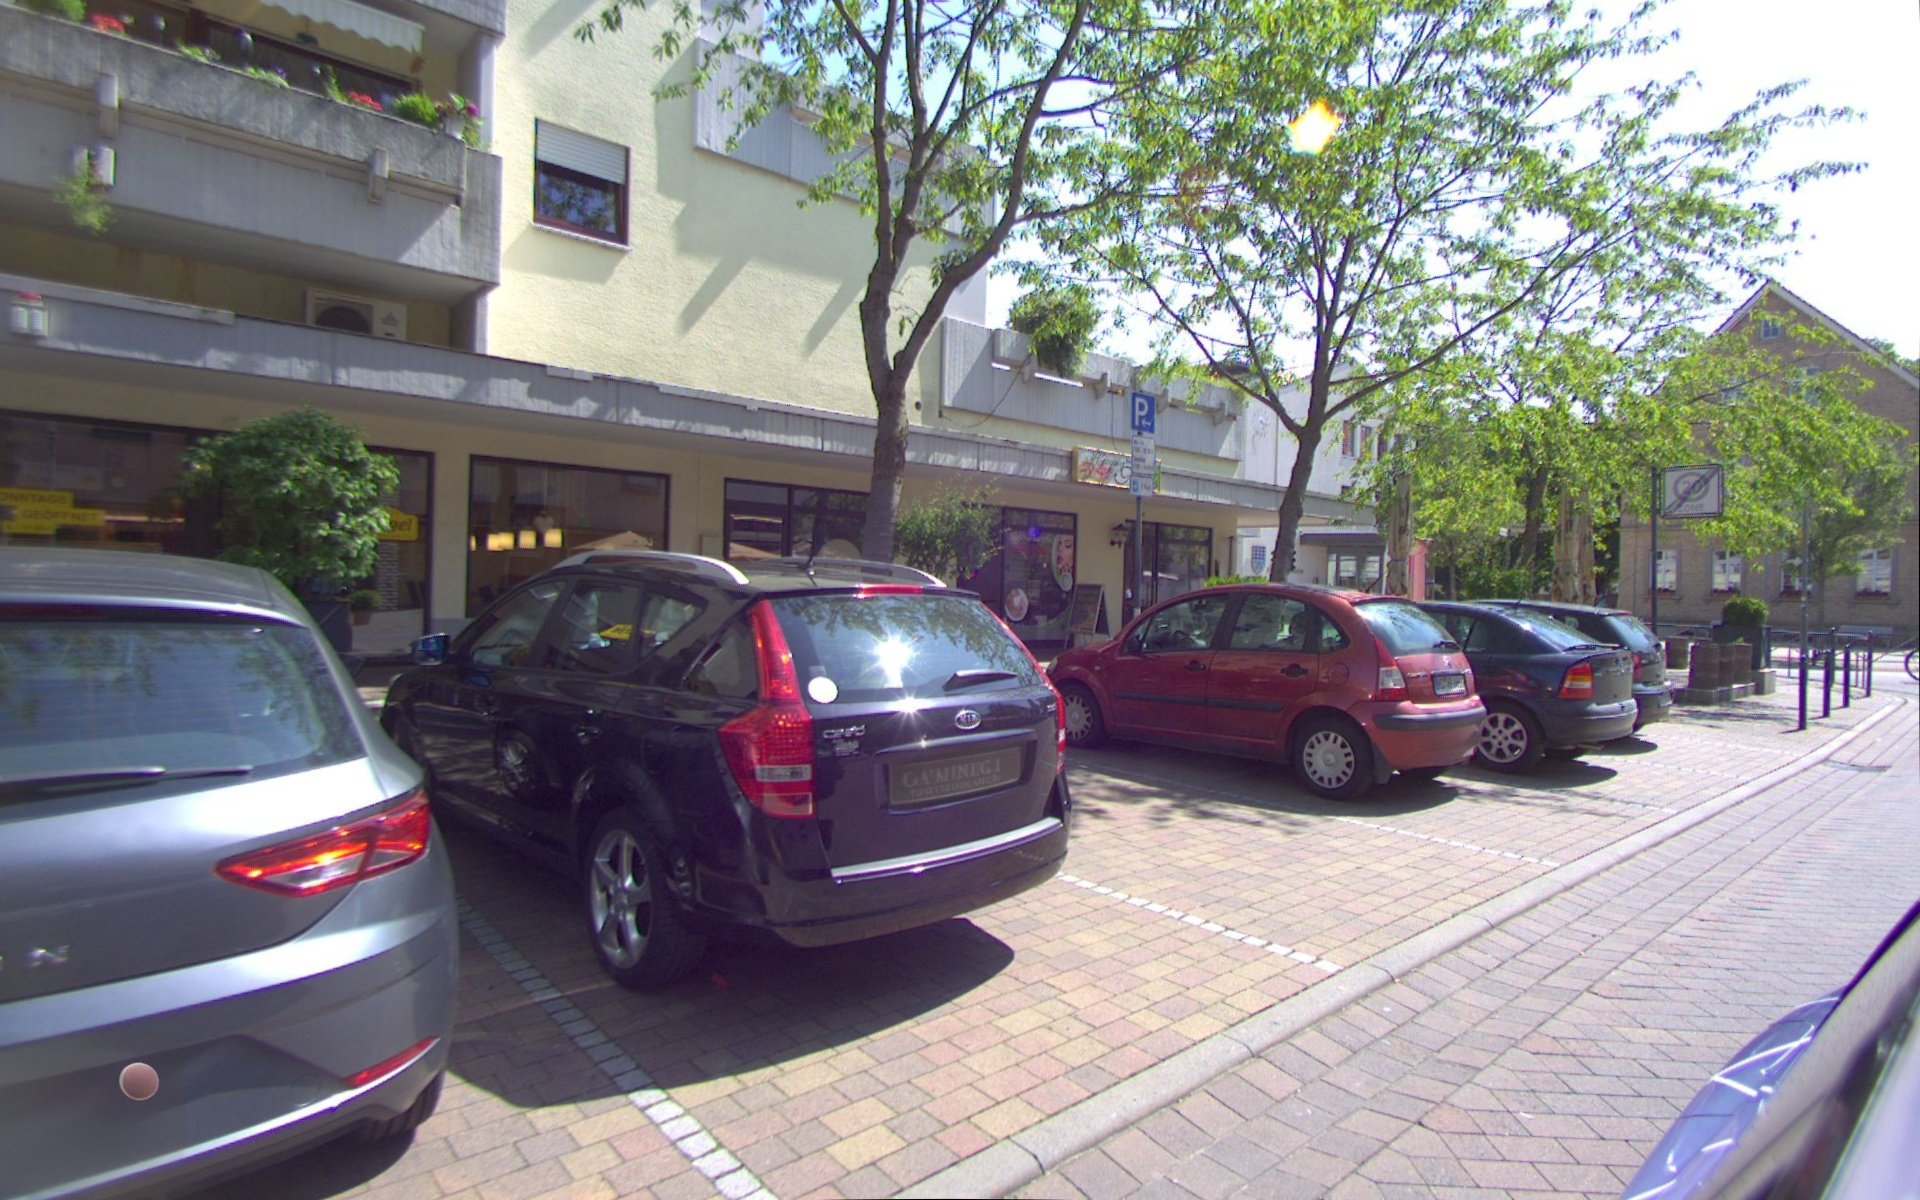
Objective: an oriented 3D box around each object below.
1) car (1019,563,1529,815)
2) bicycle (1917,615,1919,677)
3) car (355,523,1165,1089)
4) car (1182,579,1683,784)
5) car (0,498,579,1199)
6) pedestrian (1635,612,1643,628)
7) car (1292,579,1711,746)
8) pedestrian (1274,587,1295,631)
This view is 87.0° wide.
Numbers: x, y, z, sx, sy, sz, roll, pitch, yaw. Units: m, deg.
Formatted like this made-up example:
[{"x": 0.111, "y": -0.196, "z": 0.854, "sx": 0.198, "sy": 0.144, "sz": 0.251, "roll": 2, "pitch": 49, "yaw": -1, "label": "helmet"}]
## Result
[{"x": 2.446, "y": 0.541, "z": 8.578, "sx": 1.734, "sy": 1.553, "sz": 3.731, "roll": 1, "pitch": 2, "yaw": -41, "label": "car"}, {"x": 19.462, "y": 0.930, "z": 19.214, "sx": 0.678, "sy": 1.204, "sz": 1.797, "roll": -1, "pitch": 3, "yaw": -40, "label": "bicycle"}, {"x": -1.314, "y": 0.498, "z": 4.967, "sx": 1.914, "sy": 1.560, "sz": 4.186, "roll": 1, "pitch": 2, "yaw": -44, "label": "car"}, {"x": 4.439, "y": 0.628, "z": 10.024, "sx": 1.753, "sy": 1.449, "sz": 4.105, "roll": 2, "pitch": 2, "yaw": -41, "label": "car"}, {"x": -2.621, "y": 0.527, "z": 3.175, "sx": 1.683, "sy": 1.508, "sz": 3.951, "roll": 1, "pitch": 1, "yaw": -36, "label": "car"}, {"x": 31.201, "y": 0.917, "z": 46.515, "sx": 0.288, "sy": 0.741, "sz": 0.353, "roll": 2, "pitch": 0, "yaw": 36, "label": "pedestrian"}, {"x": 6.188, "y": 0.581, "z": 11.907, "sx": 1.742, "sy": 1.528, "sz": 3.965, "roll": 1, "pitch": 2, "yaw": -42, "label": "car"}, {"x": 12.218, "y": 0.327, "z": 38.125, "sx": 0.539, "sy": 1.639, "sz": 0.558, "roll": 2, "pitch": 1, "yaw": -3, "label": "pedestrian"}]
